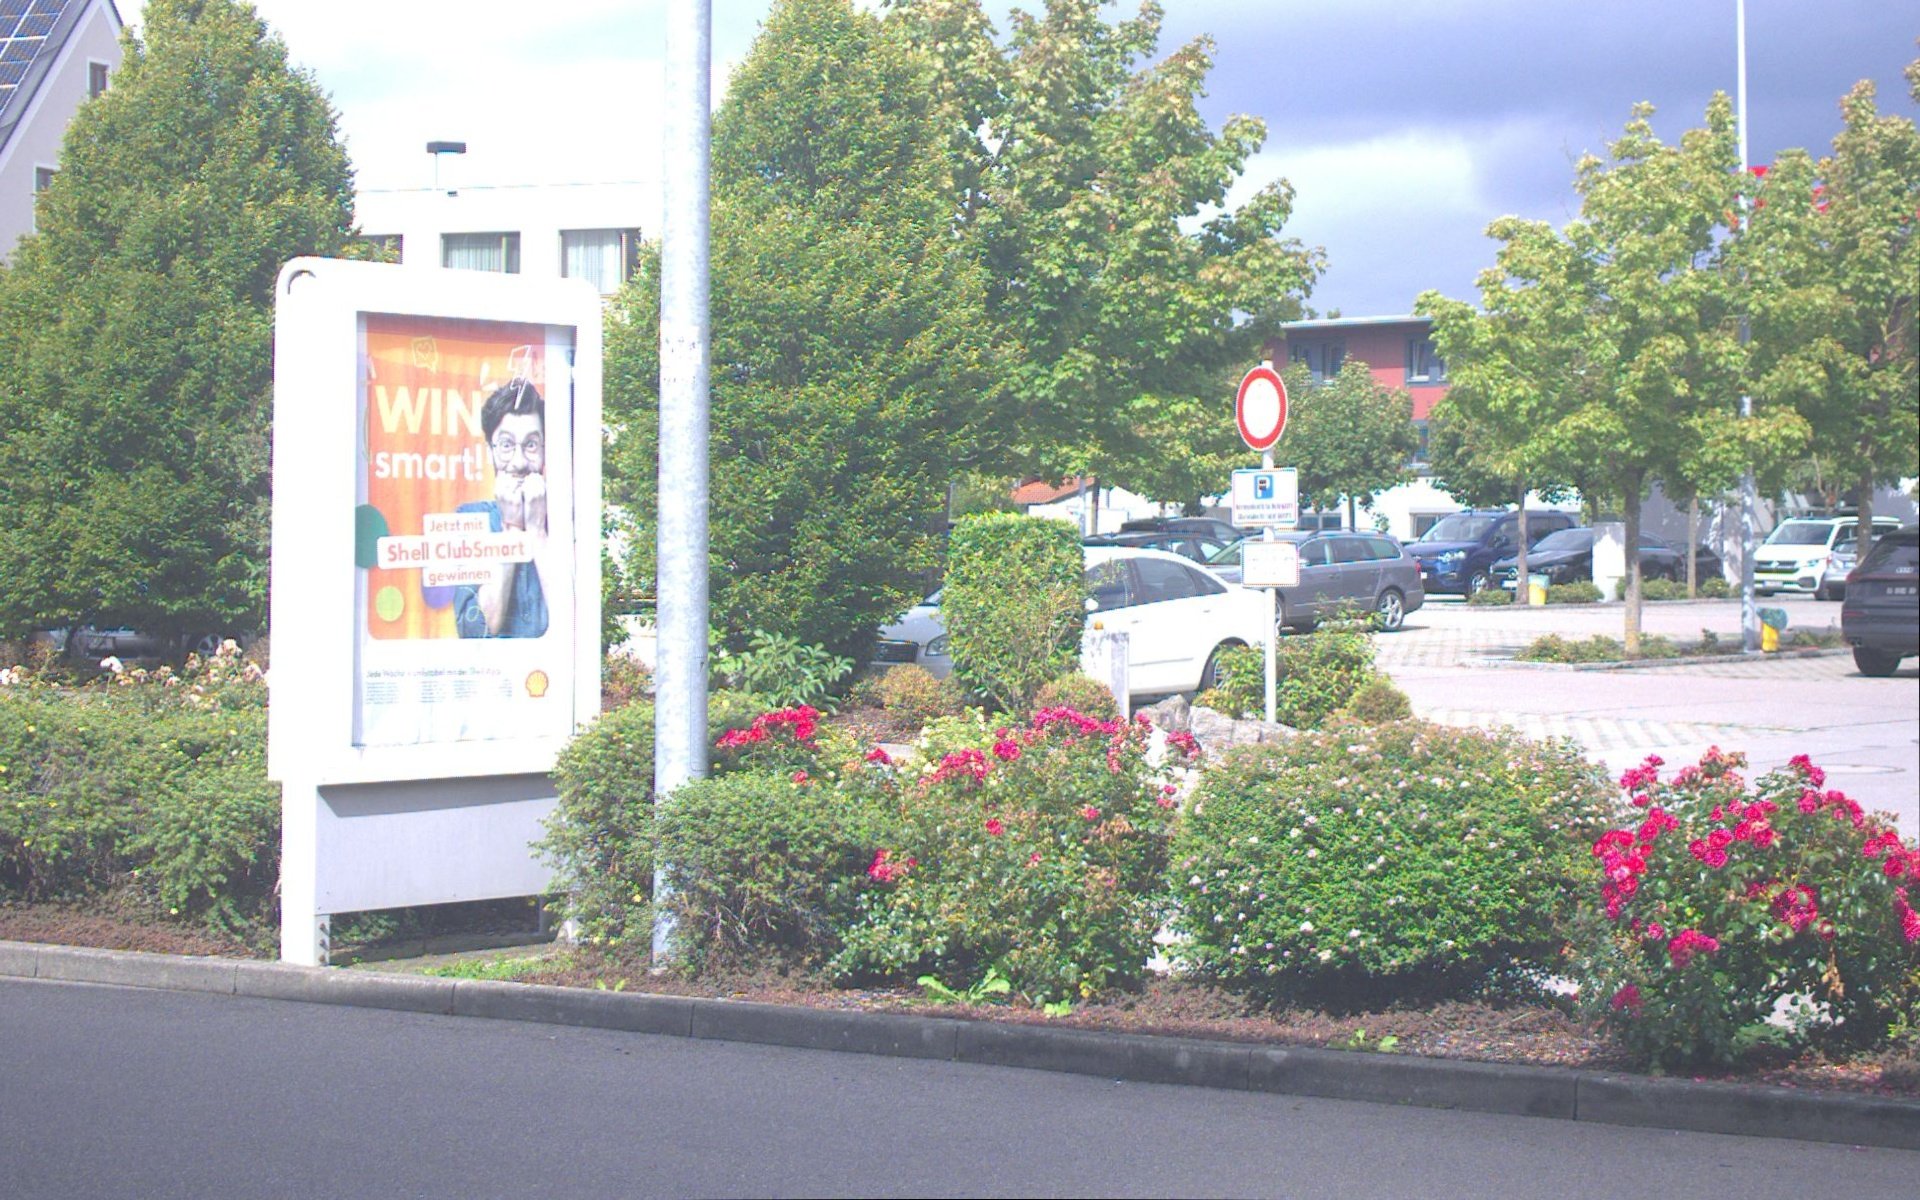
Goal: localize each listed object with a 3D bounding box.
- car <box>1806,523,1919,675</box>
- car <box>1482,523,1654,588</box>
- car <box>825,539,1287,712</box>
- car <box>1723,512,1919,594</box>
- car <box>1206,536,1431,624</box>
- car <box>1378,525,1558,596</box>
[{"bbox_3d":[11.131,-0.009,36.734,4.491,1.543,1.885,0,1,-43],"label":"car"},{"bbox_3d":[11.516,-0.841,65.039,3.409,1.174,1.485,0,1,-44],"label":"car"},{"bbox_3d":[0.902,0.205,29.931,4.332,1.399,1.370,0,1,-44],"label":"car"},{"bbox_3d":[20.250,-1.090,80.644,4.864,1.827,2.184,0,1,-43],"label":"car"},{"bbox_3d":[5.202,-0.289,49.720,3.218,1.224,1.505,0,1,-44],"label":"car"},{"bbox_3d":[9.887,-0.760,66.787,3.379,1.316,1.747,0,1,-44],"label":"car"}]
